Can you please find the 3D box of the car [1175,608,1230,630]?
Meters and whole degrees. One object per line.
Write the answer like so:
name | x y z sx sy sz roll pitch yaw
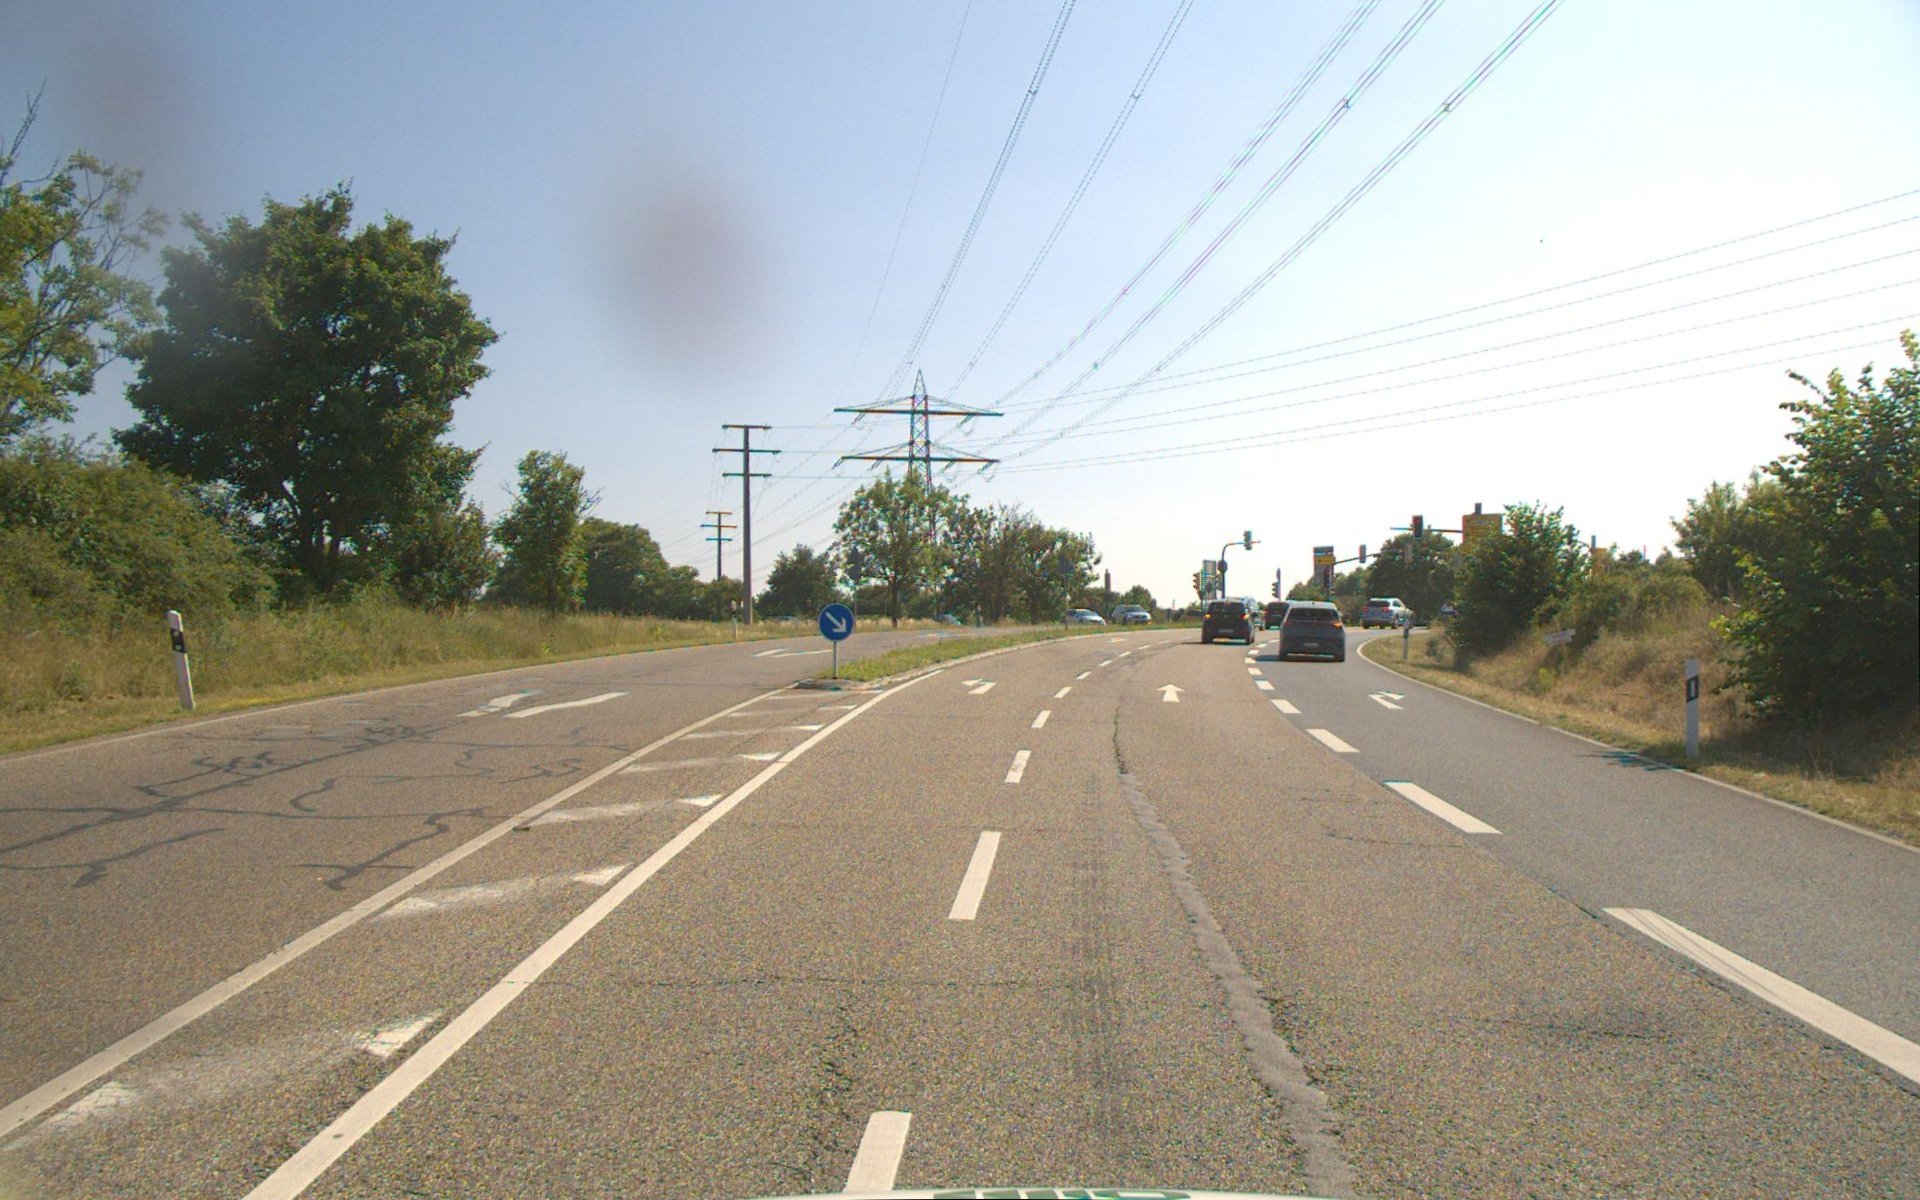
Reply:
car | 18.284 1.447 124.837 1.801 1.680 3.946 1 -1 -38

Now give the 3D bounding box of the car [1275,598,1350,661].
car | 9.537 0.758 45.036 1.735 1.543 4.103 2 1 9

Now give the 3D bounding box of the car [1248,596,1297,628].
car | 16.580 0.657 87.544 1.707 1.596 3.622 1 0 25

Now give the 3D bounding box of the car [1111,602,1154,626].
car | 12.042 1.004 115.727 1.783 1.680 3.987 0 -1 -12

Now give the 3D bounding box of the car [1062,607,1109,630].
car | 9.381 1.416 124.002 1.792 1.680 3.966 0 -1 -26

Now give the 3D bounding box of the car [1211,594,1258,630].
car | 13.163 0.566 79.227 1.705 1.596 3.626 2 1 17

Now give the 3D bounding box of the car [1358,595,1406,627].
car | 23.330 0.597 91.316 1.603 1.706 3.741 1 -1 31

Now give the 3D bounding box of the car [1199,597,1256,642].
car | 9.160 0.648 56.497 1.598 1.473 3.297 1 0 14

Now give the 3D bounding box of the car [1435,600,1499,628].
car | 26.762 0.738 87.253 1.618 1.410 3.973 -1 0 43
